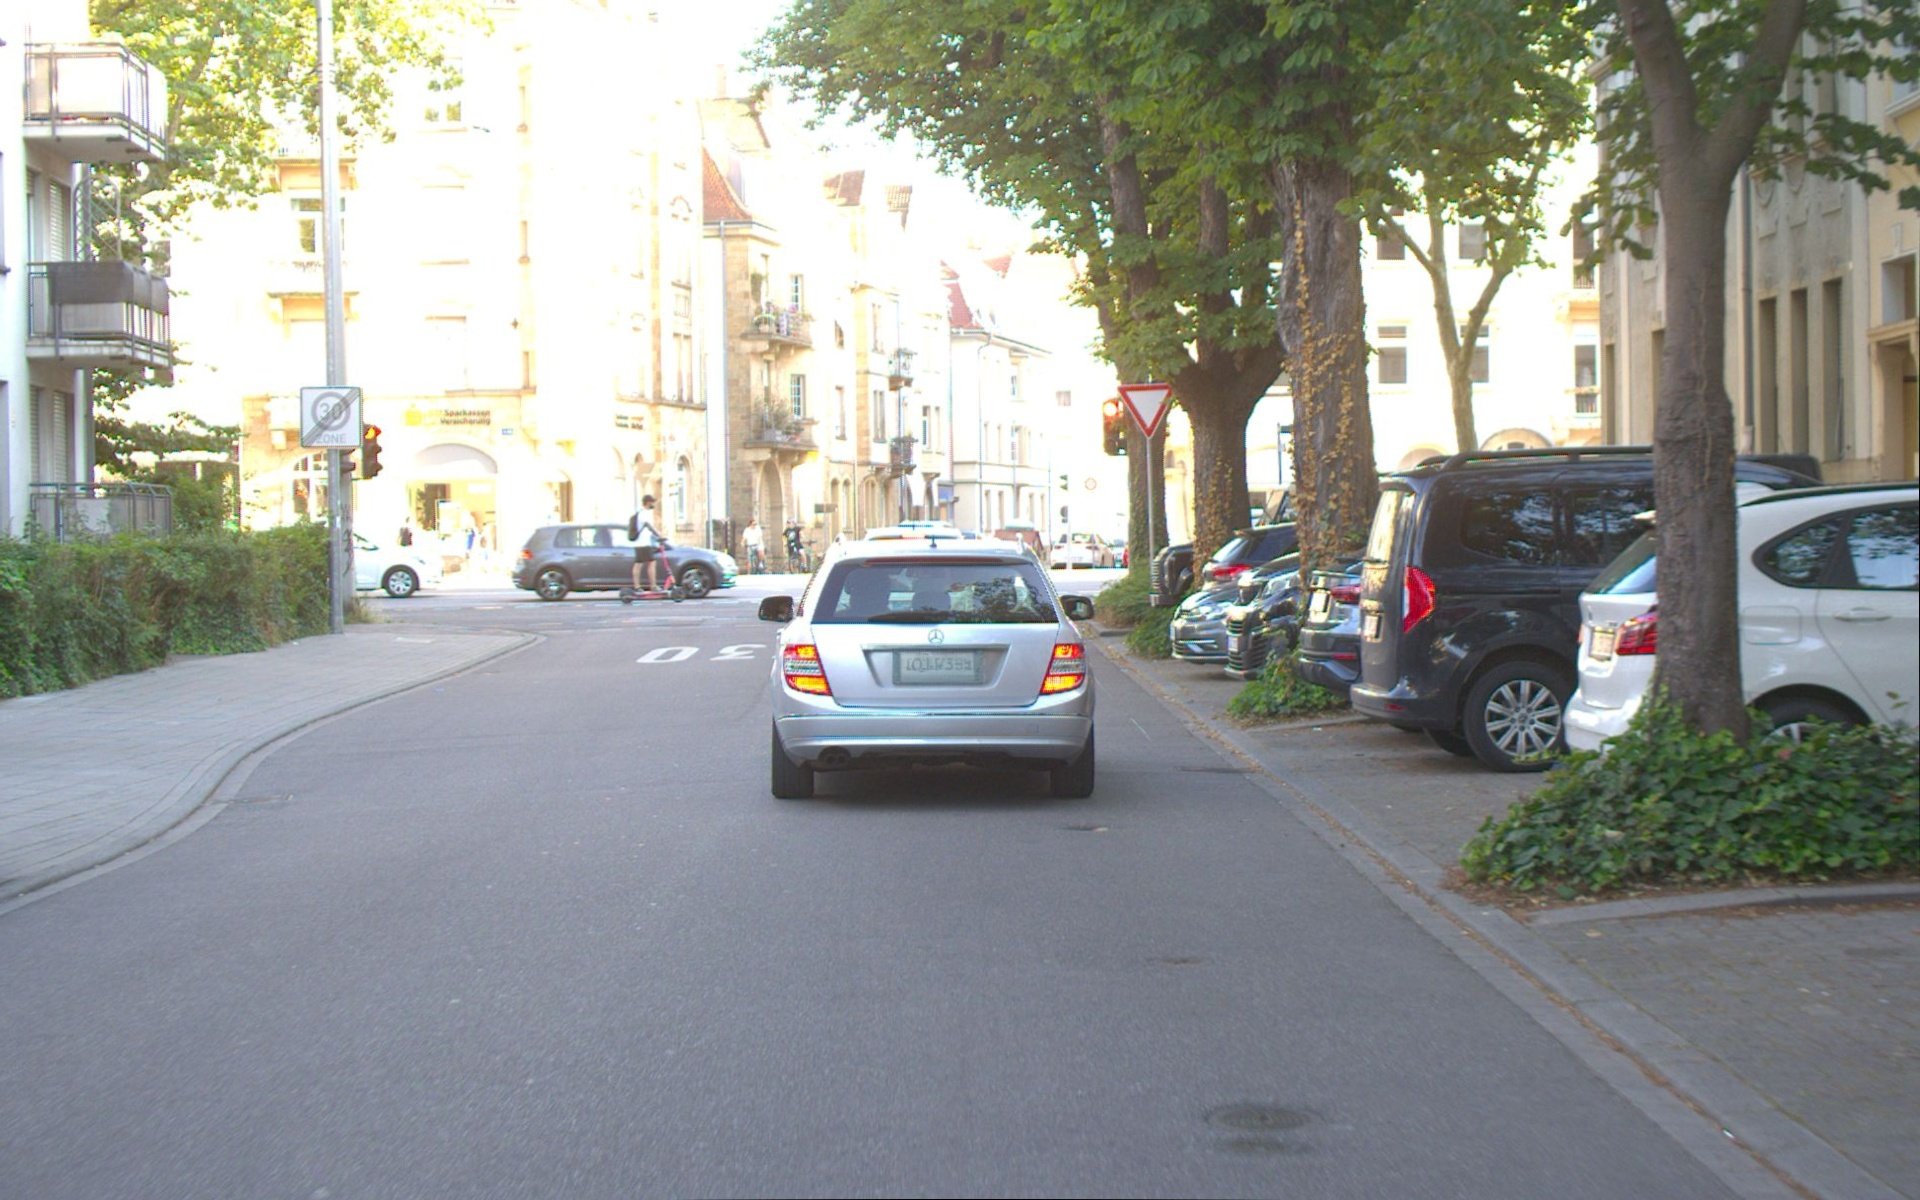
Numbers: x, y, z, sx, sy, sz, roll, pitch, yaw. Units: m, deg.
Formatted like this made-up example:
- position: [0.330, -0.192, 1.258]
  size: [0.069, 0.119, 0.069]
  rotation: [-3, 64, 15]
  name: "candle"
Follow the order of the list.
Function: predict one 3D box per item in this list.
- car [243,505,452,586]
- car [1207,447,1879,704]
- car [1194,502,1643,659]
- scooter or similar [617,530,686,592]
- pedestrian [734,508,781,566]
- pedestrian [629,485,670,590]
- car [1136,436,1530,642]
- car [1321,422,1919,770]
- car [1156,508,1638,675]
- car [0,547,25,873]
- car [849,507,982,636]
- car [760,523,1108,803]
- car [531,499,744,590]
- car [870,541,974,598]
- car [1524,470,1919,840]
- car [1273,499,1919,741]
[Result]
- position: [-11.833, -1.064, 66.340]
  size: [3.887, 1.510, 1.708]
  rotation: [-1, 2, -12]
  name: "car"
- position: [4.636, -0.223, 27.885]
  size: [5.053, 1.982, 2.072]
  rotation: [0, 2, -2]
  name: "car"
- position: [4.637, -0.220, 35.190]
  size: [4.287, 1.535, 1.899]
  rotation: [0, 2, -2]
  name: "car"
- position: [-5.525, -0.704, 61.581]
  size: [1.175, 1.048, 0.409]
  rotation: [-2, 2, -4]
  name: "scooter or similar"
- position: [-6.127, -1.909, 104.094]
  size: [1.221, 1.716, 1.503]
  rotation: [1, 1, 3]
  name: "pedestrian"
- position: [-5.559, -1.123, 61.568]
  size: [0.642, 1.859, 0.410]
  rotation: [-2, 2, -4]
  name: "pedestrian"
- position: [4.363, -0.739, 40.720]
  size: [4.388, 2.356, 2.000]
  rotation: [0, 2, -2]
  name: "car"
- position: [4.424, -0.064, 20.626]
  size: [4.219, 1.890, 1.906]
  rotation: [-2, 1, -2]
  name: "car"
- position: [4.113, -0.107, 32.816]
  size: [4.287, 1.412, 1.877]
  rotation: [-2, 2, -2]
  name: "car"
- position: [-5.099, 0.532, 13.439]
  size: [1.695, 1.442, 4.358]
  rotation: [1, 2, 0]
  name: "car"
- position: [-0.537, -0.397, 44.214]
  size: [1.623, 1.564, 3.680]
  rotation: [0, 2, 1]
  name: "car"
- position: [-0.121, 0.296, 19.657]
  size: [1.784, 1.432, 3.851]
  rotation: [1, 1, 0]
  name: "car"
- position: [-6.043, -1.050, 64.241]
  size: [3.887, 1.636, 1.755]
  rotation: [-1, 2, -8]
  name: "car"
- position: [-1.088, -0.901, 100.992]
  size: [1.995, 1.579, 3.997]
  rotation: [0, 2, 16]
  name: "car"
- position: [4.846, 0.174, 15.932]
  size: [4.110, 1.566, 1.877]
  rotation: [-2, 1, 0]
  name: "car"
- position: [4.363, 0.097, 23.105]
  size: [4.287, 1.535, 1.877]
  rotation: [0, 2, -2]
  name: "car"
